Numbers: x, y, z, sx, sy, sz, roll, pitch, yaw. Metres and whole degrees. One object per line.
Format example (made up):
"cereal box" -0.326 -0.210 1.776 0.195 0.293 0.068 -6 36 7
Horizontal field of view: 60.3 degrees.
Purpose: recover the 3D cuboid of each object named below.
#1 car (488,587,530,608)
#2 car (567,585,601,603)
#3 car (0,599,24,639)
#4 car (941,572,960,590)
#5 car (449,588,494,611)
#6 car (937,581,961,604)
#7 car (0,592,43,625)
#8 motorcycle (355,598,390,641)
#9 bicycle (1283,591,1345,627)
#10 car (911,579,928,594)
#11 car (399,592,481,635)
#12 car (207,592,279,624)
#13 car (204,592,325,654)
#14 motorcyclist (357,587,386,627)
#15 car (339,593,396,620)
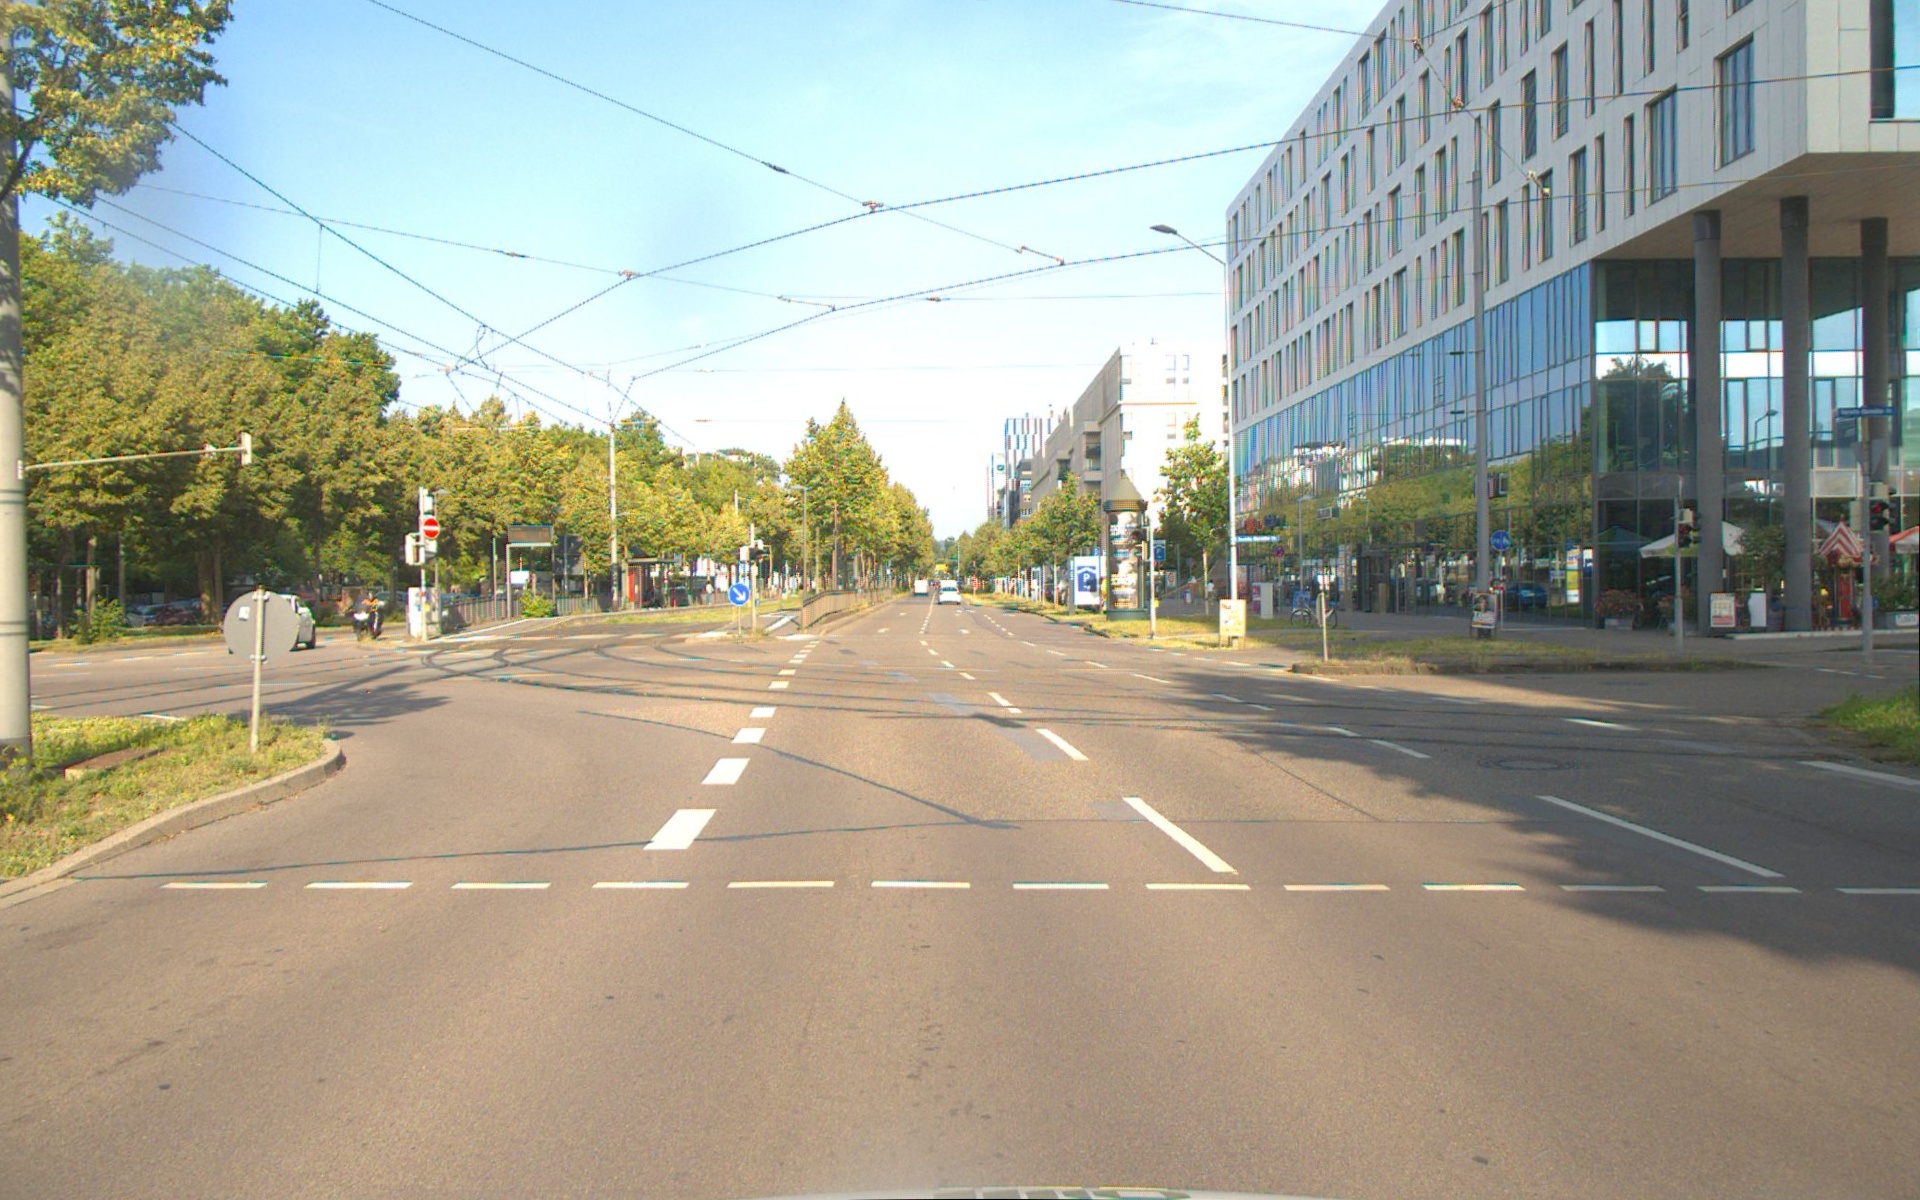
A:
"car" -35.043 -0.198 128.622 1.841 1.586 4.002 -1 0 4
"car" -33.861 -0.562 149.062 1.841 1.586 4.002 -1 0 4
"car" -39.336 0.781 65.657 1.841 1.586 4.002 -1 0 4
"car" -0.953 -1.837 162.798 1.826 1.713 4.000 1 1 0
"car" -35.627 -0.068 120.691 1.841 1.586 4.002 -1 0 4
"car" -0.833 -0.569 127.755 1.826 1.713 4.000 1 1 0
"car" -46.665 0.427 80.288 1.841 1.586 4.002 -1 0 4
"motorcycle" -18.753 0.611 52.826 0.805 1.285 2.540 0 1 -14
"bicycle" 11.388 0.286 53.242 0.768 1.050 1.848 -1 3 -44
"car" -4.765 -1.582 194.771 1.973 1.713 4.000 1 1 0
"car" -19.705 0.487 62.854 1.694 1.487 4.573 -3 0 -1
"car" -38.133 0.411 88.068 1.841 1.586 4.002 -1 0 4
"car" -18.448 0.623 44.054 1.956 1.530 4.085 -1 -1 -8
"motorcyclist" -18.712 0.221 52.624 0.769 1.223 0.844 1 1 -15
"car" -36.887 0.386 103.112 1.841 1.586 4.002 -1 0 4
